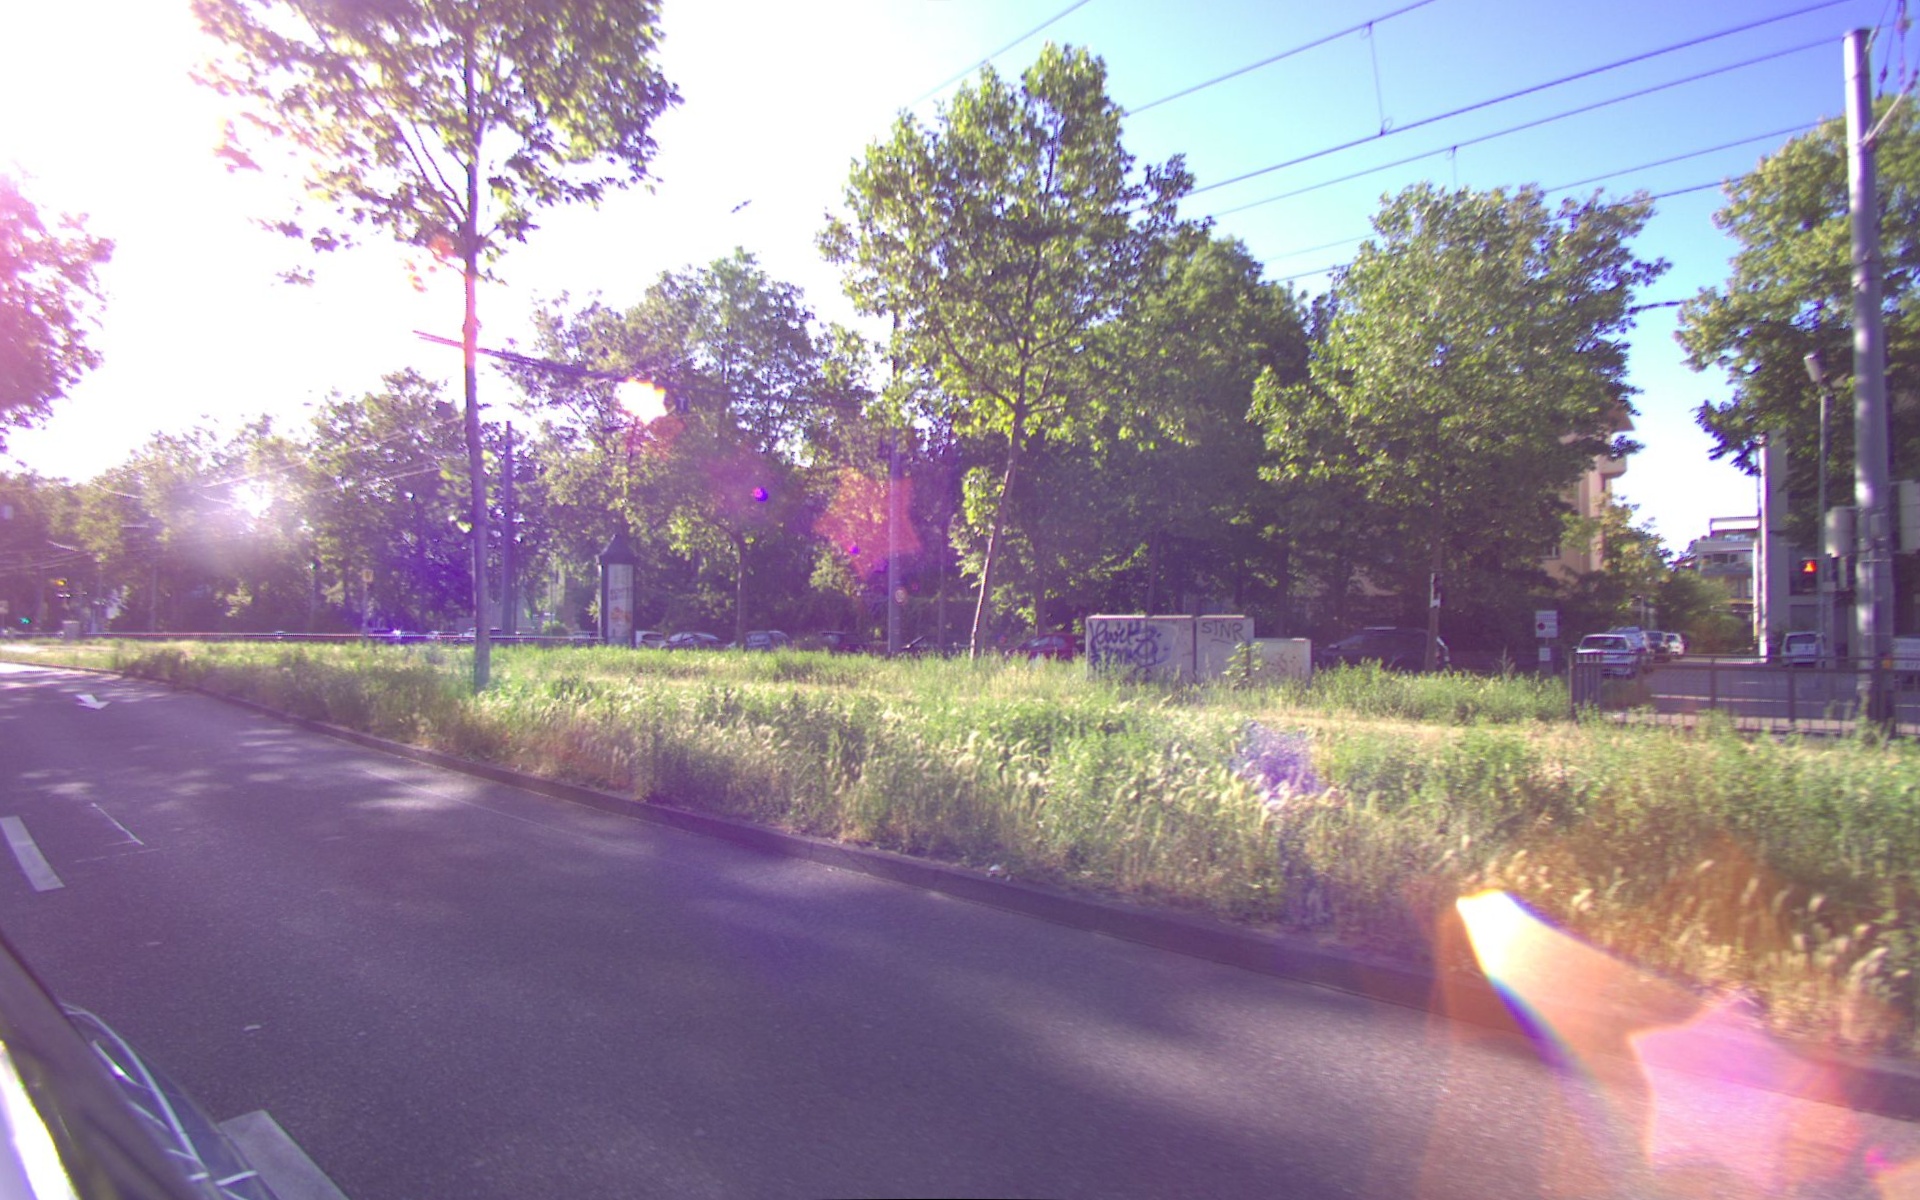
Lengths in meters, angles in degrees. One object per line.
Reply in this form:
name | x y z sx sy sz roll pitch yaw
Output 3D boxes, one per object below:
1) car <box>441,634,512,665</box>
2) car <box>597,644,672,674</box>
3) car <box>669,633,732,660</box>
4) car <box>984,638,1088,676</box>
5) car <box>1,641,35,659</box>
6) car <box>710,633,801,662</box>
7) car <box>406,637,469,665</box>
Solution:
car | -29.383 3.014 61.494 4.505 1.696 1.976 -4 -2 36
car | -16.265 2.947 50.445 3.776 1.322 1.752 -4 -2 39
car | -12.124 2.158 47.208 2.840 1.209 1.387 -1 -2 37
car | 2.598 1.923 34.793 3.354 1.238 1.394 -1 -2 37
car | -88.221 4.695 94.789 4.042 1.564 1.776 -4 -2 39
car | -9.062 2.099 44.770 3.995 1.187 1.775 -3 -1 38
car | -33.515 3.286 64.901 3.992 1.634 1.976 -4 -2 36
